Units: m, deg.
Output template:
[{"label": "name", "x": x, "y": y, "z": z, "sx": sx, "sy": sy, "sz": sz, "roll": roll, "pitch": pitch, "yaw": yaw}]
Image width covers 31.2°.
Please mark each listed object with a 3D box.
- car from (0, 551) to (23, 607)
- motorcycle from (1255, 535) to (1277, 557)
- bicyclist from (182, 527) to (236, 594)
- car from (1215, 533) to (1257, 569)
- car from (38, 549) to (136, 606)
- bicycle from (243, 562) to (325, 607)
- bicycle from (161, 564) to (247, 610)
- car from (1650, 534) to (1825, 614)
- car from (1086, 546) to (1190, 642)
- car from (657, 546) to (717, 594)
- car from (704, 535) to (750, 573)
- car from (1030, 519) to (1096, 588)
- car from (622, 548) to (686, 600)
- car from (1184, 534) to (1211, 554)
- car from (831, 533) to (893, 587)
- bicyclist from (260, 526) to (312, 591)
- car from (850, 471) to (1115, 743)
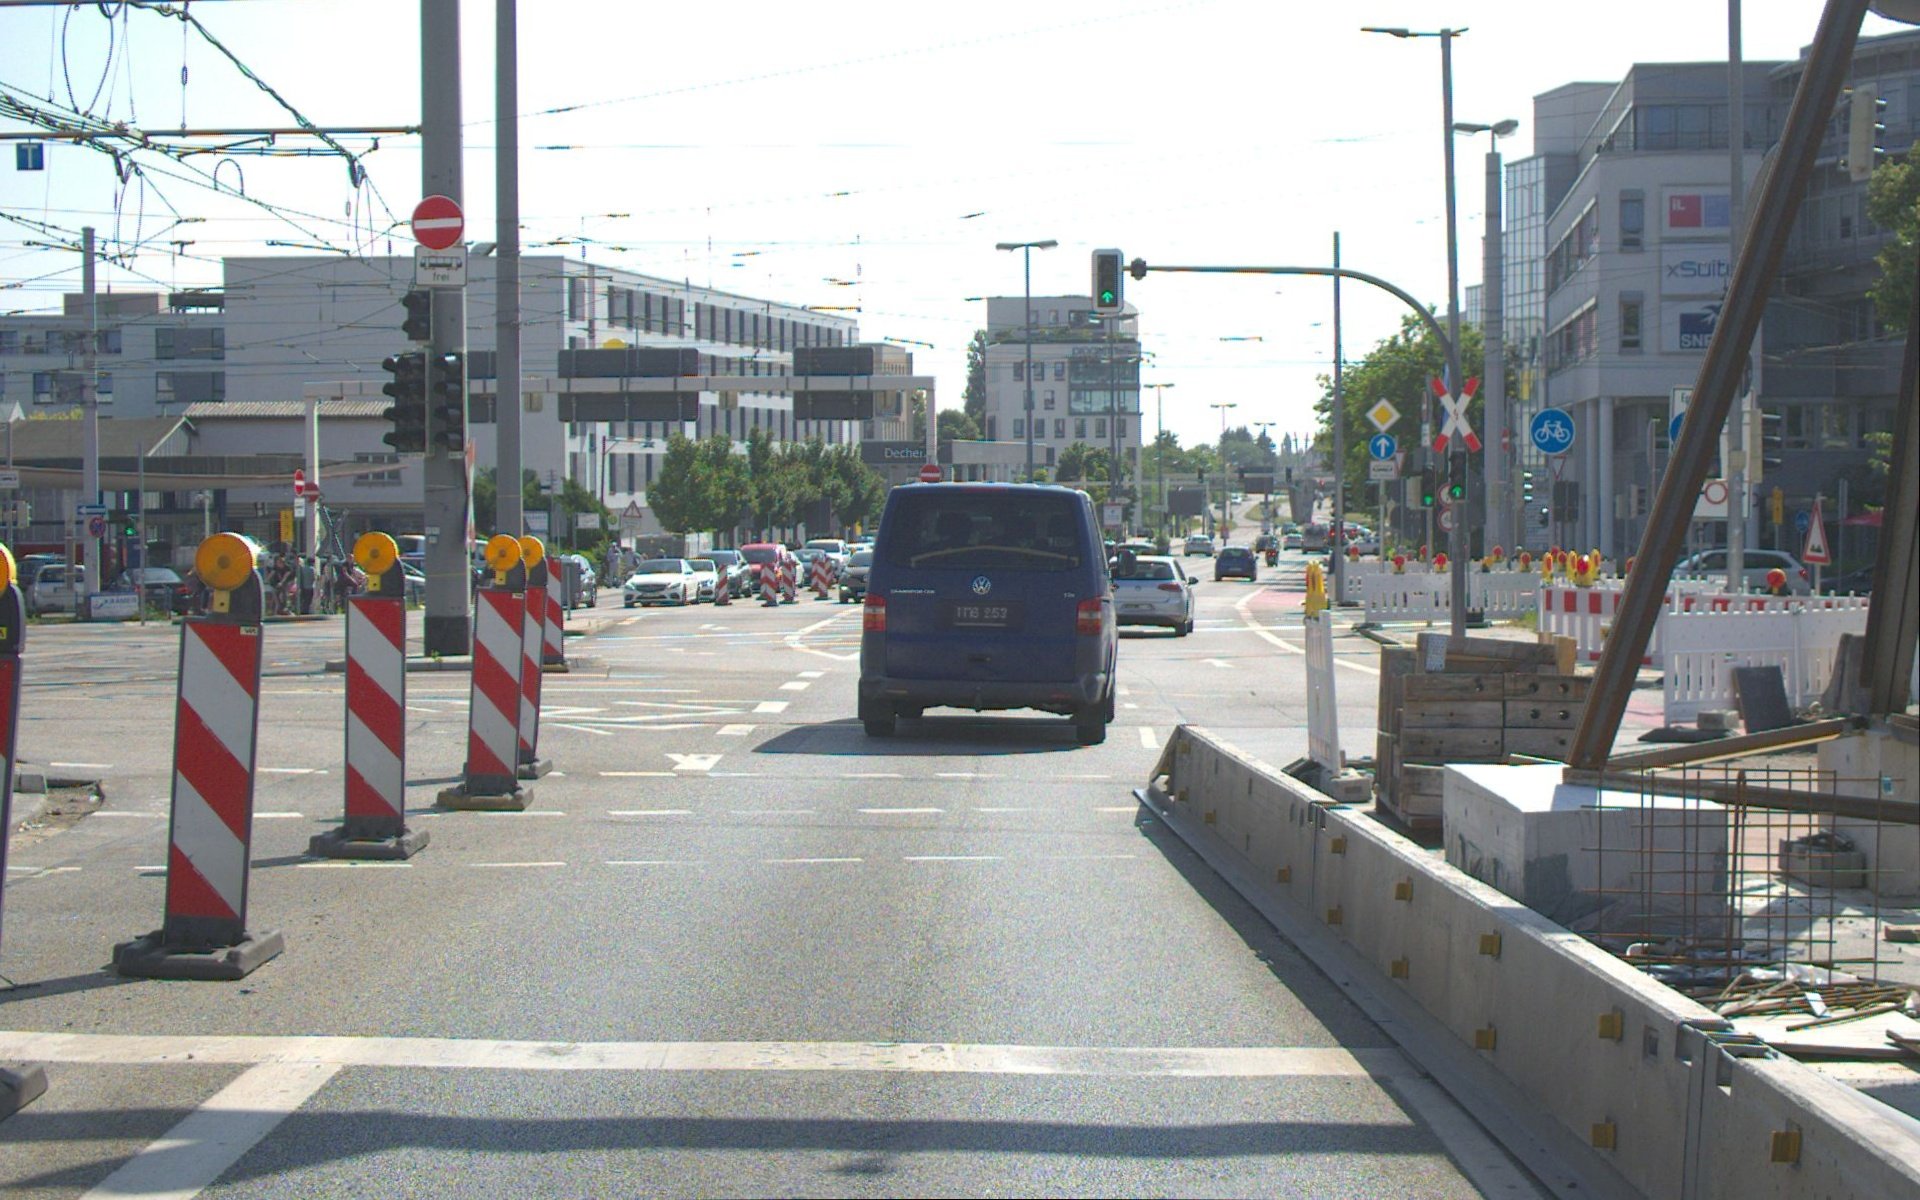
[{"label": "car", "x": -27.498, "y": -0.540, "z": 95.604, "sx": 1.777, "sy": 1.532, "sz": 4.000, "roll": -2, "pitch": 1, "yaw": 0}, {"label": "motorcycle", "x": 17.273, "y": -3.040, "z": 193.930, "sx": 1.162, "sy": 1.238, "sz": 3.007, "roll": 1, "pitch": 1, "yaw": 7}, {"label": "bicyclist", "x": -18.623, "y": -0.979, "z": 85.238, "sx": 0.876, "sy": 1.573, "sz": 0.969, "roll": 4, "pitch": 1, "yaw": 13}, {"label": "car", "x": 11.663, "y": -2.071, "z": 145.298, "sx": 1.744, "sy": 1.470, "sz": 3.884, "roll": 0, "pitch": 1, "yaw": 5}, {"label": "car", "x": -24.634, "y": -0.659, "z": 97.146, "sx": 1.777, "sy": 1.532, "sz": 4.000, "roll": 0, "pitch": 1, "yaw": 0}, {"label": "bicycle", "x": -17.155, "y": -0.390, "z": 87.365, "sx": 0.882, "sy": 1.065, "sz": 2.805, "roll": 4, "pitch": 1, "yaw": 14}, {"label": "bicycle", "x": -18.694, "y": -0.325, "z": 85.076, "sx": 0.882, "sy": 1.065, "sz": 2.805, "roll": 4, "pitch": 1, "yaw": 14}, {"label": "car", "x": 18.866, "y": -0.643, "z": 83.524, "sx": 3.813, "sy": 1.791, "sz": 1.681, "roll": 1, "pitch": 2, "yaw": -1}, {"label": "car", "x": 3.273, "y": -0.129, "z": 63.754, "sx": 1.684, "sy": 1.600, "sz": 3.617, "roll": 2, "pitch": 2, "yaw": 0}, {"label": "car", "x": -8.727, "y": -0.977, "z": 110.128, "sx": 1.747, "sy": 1.481, "sz": 4.001, "roll": 0, "pitch": 1, "yaw": -3}, {"label": "car", "x": -9.332, "y": -1.849, "z": 138.084, "sx": 1.747, "sy": 1.481, "sz": 4.001, "roll": 0, "pitch": 1, "yaw": -3}, {"label": "car", "x": 2.733, "y": -1.251, "z": 91.936, "sx": 1.645, "sy": 1.722, "sz": 4.000, "roll": 2, "pitch": 2, "yaw": 1}, {"label": "car", "x": -9.234, "y": -0.810, "z": 104.003, "sx": 1.747, "sy": 1.476, "sz": 4.001, "roll": 0, "pitch": 1, "yaw": -3}, {"label": "car", "x": 16.666, "y": -3.944, "z": 241.318, "sx": 1.547, "sy": 1.335, "sz": 3.016, "roll": 1, "pitch": 1, "yaw": -2}, {"label": "car", "x": -2.908, "y": -1.190, "z": 101.542, "sx": 1.747, "sy": 1.525, "sz": 4.001, "roll": 0, "pitch": 1, "yaw": -3}, {"label": "bicyclist", "x": -17.122, "y": -1.044, "z": 87.334, "sx": 0.876, "sy": 1.573, "sz": 0.969, "roll": 4, "pitch": 1, "yaw": 13}, {"label": "car", "x": 0.187, "y": -0.024, "z": 27.143, "sx": 1.888, "sy": 1.927, "sz": 4.000, "roll": 2, "pitch": 2, "yaw": 1}]
